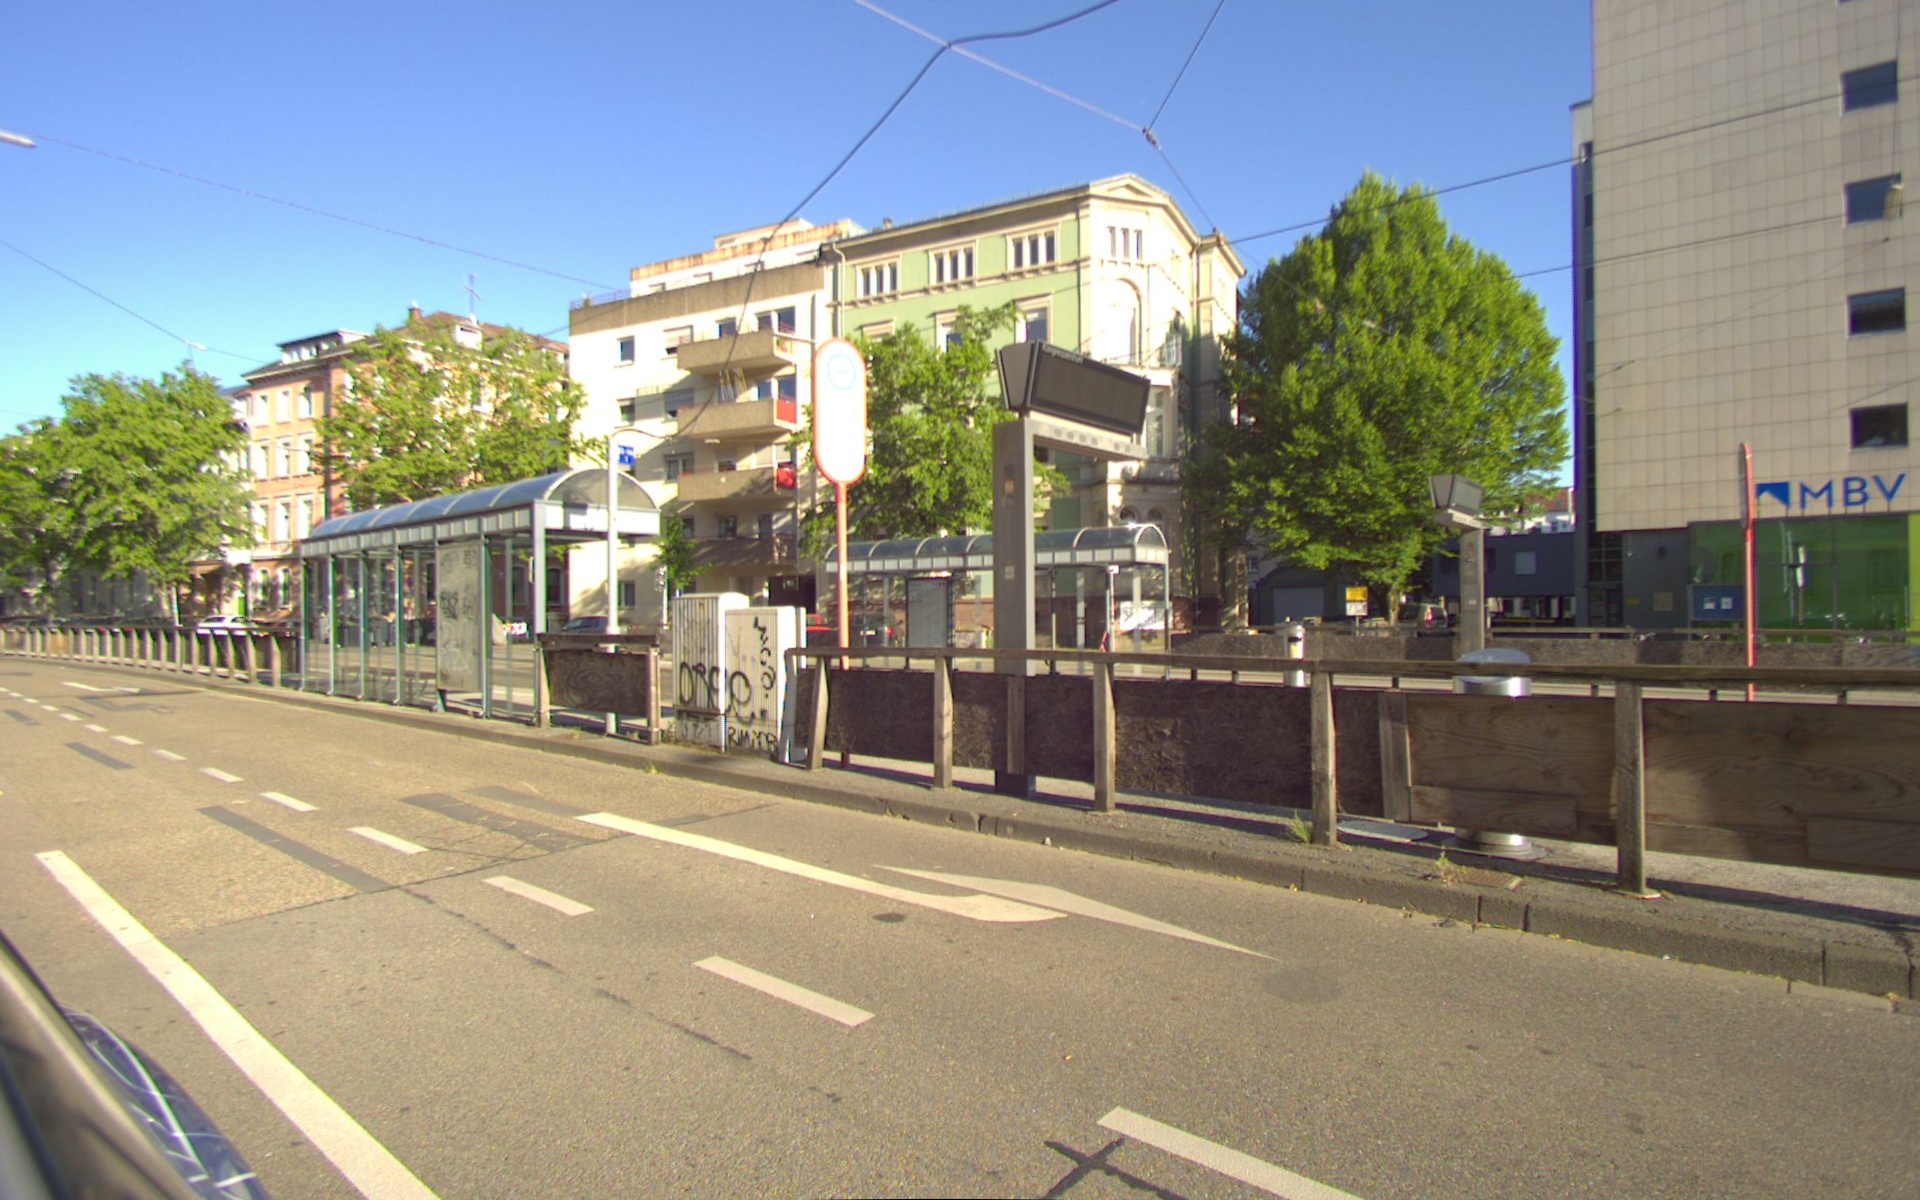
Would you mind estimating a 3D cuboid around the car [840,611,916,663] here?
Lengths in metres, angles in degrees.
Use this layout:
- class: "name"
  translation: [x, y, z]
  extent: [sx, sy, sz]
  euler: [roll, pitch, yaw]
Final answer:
- class: "car"
  translation: [-2.651, 1.185, 33.376]
  extent: [1.614, 1.579, 3.588]
  euler: [-1, 0, 11]

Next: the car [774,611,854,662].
- class: "car"
  translation: [-4.924, 1.215, 34.572]
  extent: [1.614, 1.579, 3.588]
  euler: [-1, 0, 11]

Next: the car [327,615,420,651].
- class: "car"
  translation: [-28.401, 1.558, 49.063]
  extent: [1.626, 1.579, 3.560]
  euler: [-1, 0, 33]

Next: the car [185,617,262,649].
- class: "car"
  translation: [-39.400, 1.737, 54.222]
  extent: [1.607, 1.579, 3.601]
  euler: [-1, 0, -2]

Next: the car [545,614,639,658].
- class: "car"
  translation: [-14.036, 1.333, 38.525]
  extent: [3.592, 1.579, 1.612]
  euler: [-1, 0, 35]
